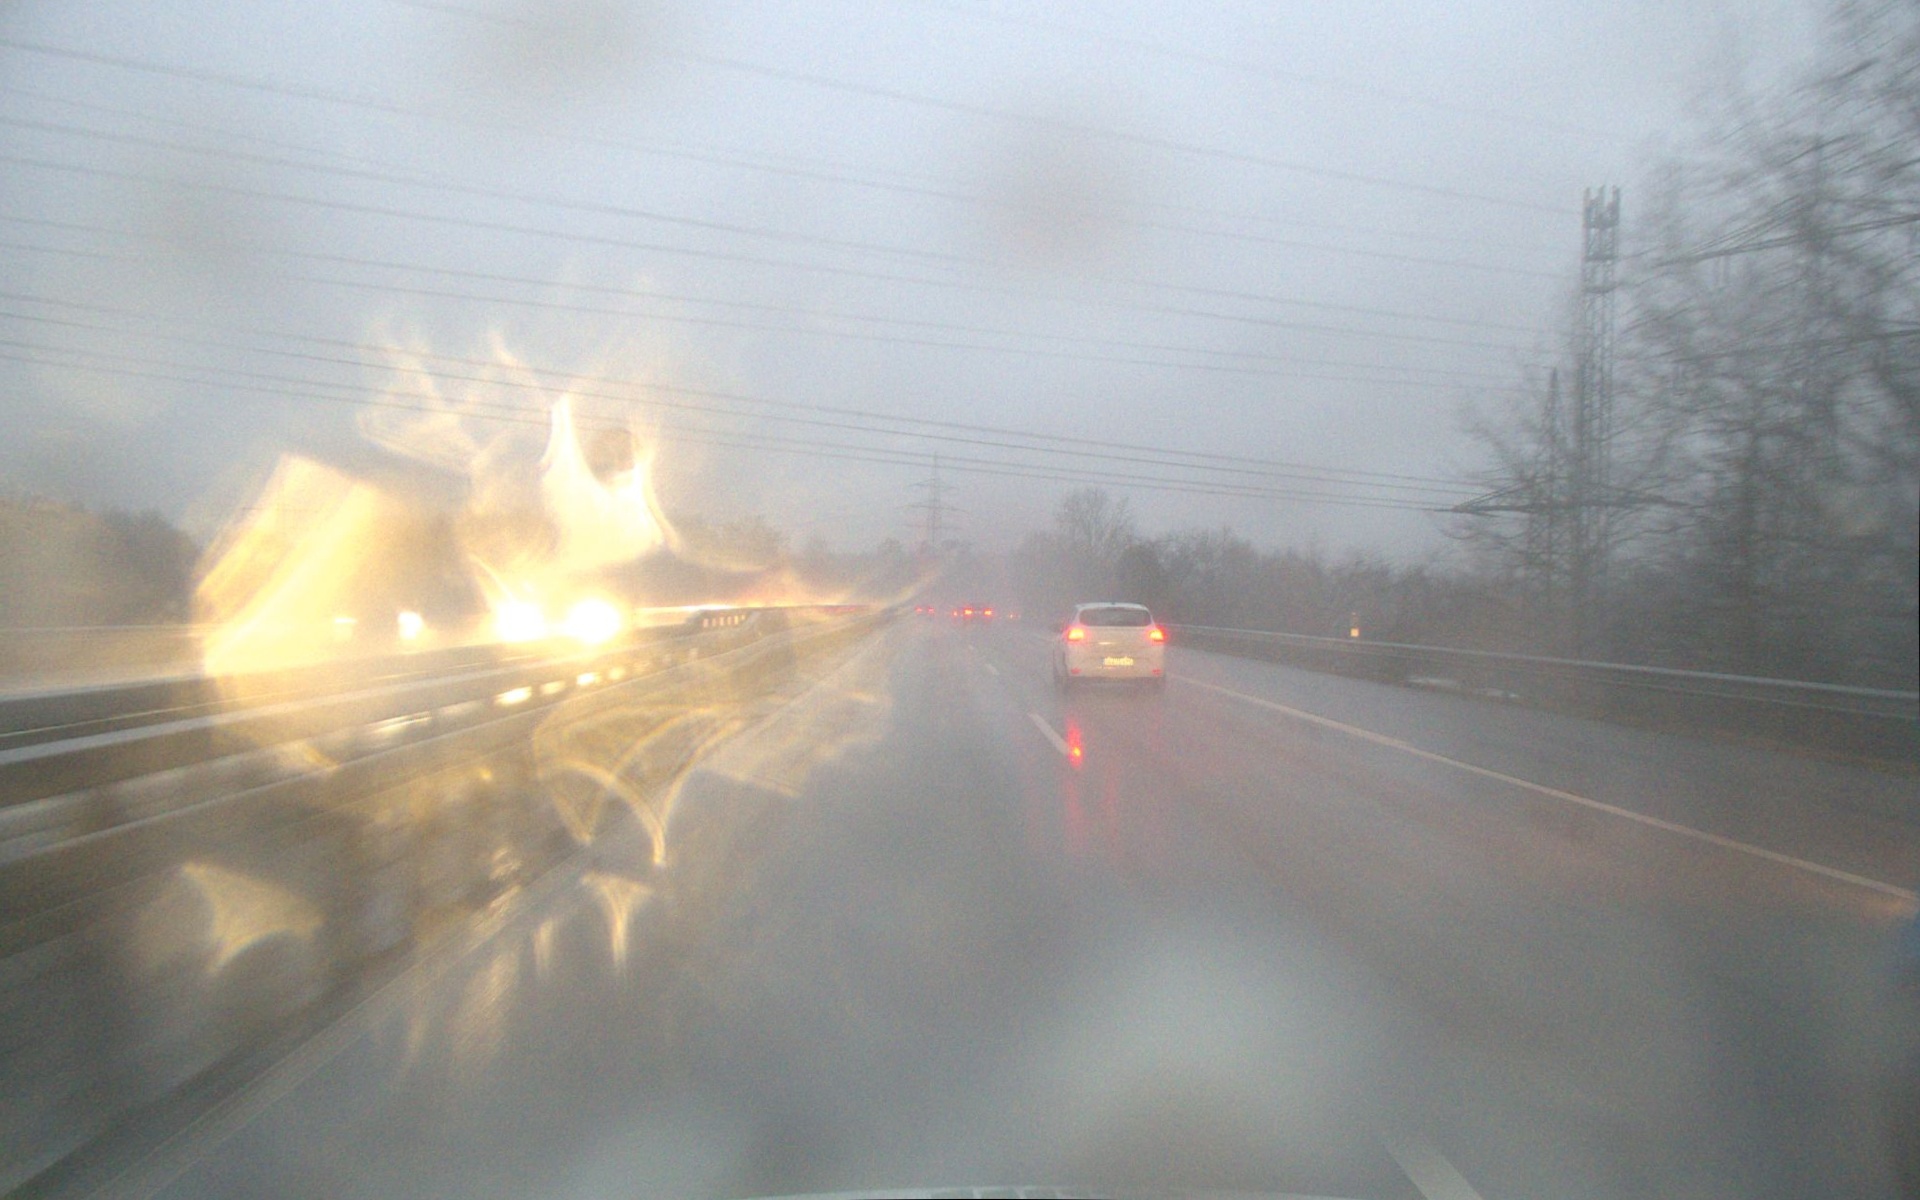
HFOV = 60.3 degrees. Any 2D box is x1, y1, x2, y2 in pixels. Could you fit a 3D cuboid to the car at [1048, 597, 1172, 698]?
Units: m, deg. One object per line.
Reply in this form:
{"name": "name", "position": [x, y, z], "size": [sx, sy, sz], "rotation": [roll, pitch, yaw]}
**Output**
{"name": "car", "position": [2.605, 0.791, 29.481], "size": [1.808, 1.664, 3.767], "rotation": [0, 0, -1]}

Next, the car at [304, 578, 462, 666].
{"name": "car", "position": [-12.670, 0.454, 36.610], "size": [2.028, 1.823, 4.338], "rotation": [0, 0, -1]}

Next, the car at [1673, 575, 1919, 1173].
{"name": "car", "position": [3.299, 0.671, 3.391], "size": [1.808, 1.479, 4.147], "rotation": [0, -1, -2]}

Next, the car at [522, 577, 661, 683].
{"name": "car", "position": [-7.892, 0.606, 35.874], "size": [2.028, 2.151, 4.761], "rotation": [0, 0, -1]}
